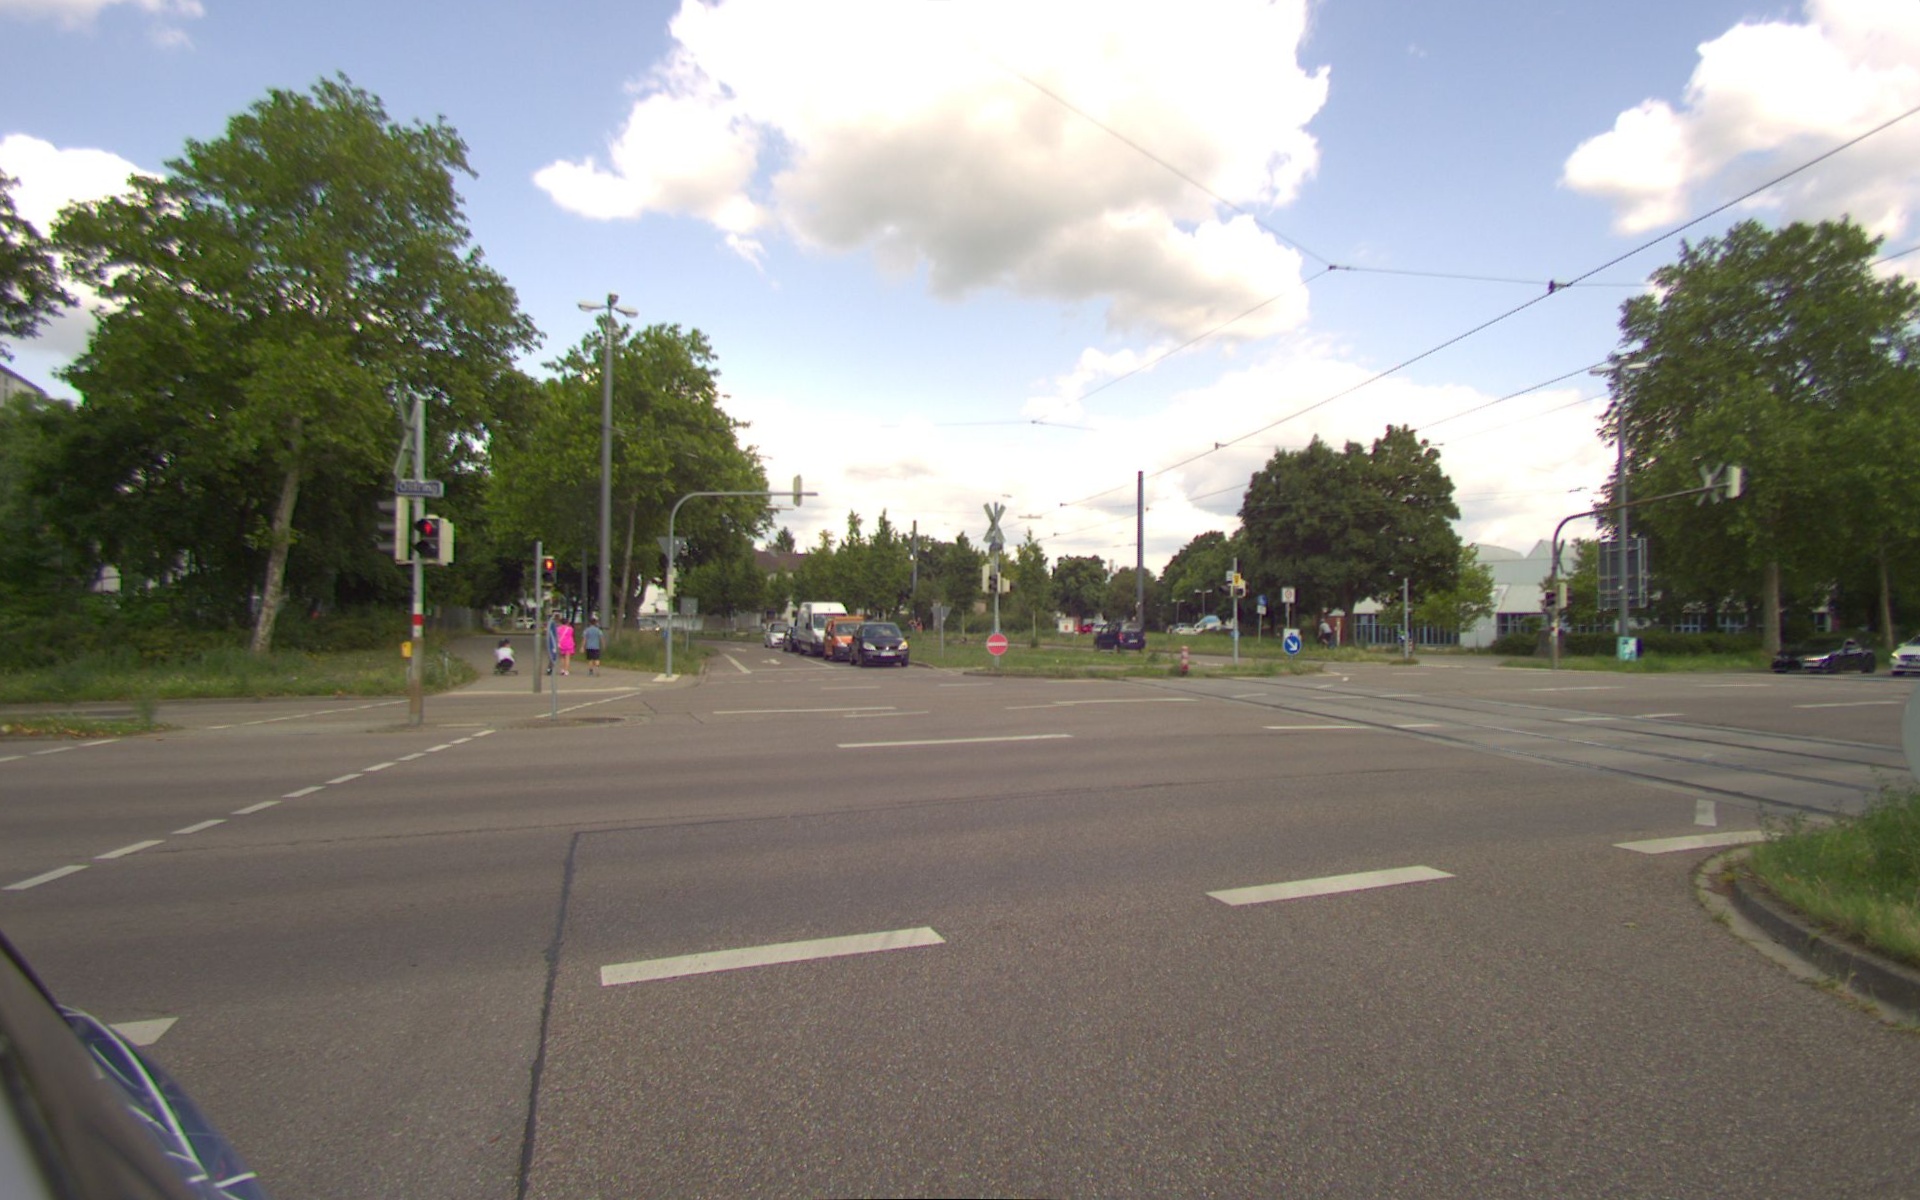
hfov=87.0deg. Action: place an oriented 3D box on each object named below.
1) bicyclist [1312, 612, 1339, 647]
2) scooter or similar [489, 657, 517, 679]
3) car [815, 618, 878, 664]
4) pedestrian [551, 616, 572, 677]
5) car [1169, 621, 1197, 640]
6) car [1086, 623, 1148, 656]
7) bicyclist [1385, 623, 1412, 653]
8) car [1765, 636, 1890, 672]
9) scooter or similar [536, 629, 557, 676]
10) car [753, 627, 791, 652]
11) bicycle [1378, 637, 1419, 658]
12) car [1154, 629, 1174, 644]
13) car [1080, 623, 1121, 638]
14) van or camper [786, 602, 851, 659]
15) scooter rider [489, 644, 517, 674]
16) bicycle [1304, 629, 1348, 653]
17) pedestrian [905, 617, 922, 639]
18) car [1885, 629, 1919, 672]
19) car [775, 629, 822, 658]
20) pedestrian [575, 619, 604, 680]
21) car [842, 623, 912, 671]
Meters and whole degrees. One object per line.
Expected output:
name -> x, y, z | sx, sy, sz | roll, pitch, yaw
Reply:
bicyclist -> 18.276, 1.457, 50.664 | 0.946, 1.735, 0.839 | 1, -2, -21
scooter or similar -> -11.894, 1.758, 26.368 | 0.601, 0.515, 0.860 | -2, -1, -21
car -> -4.824, 1.686, 42.429 | 1.852, 1.813, 4.383 | 1, -2, -17
pedestrian -> -10.848, 1.259, 27.528 | 0.415, 1.631, 0.597 | 0, -1, -10
car -> 19.643, 2.652, 89.207 | 1.976, 1.652, 4.381 | 0, -2, 7
car -> 8.152, 2.037, 52.907 | 1.698, 1.629, 4.011 | 0, -1, -15
bicyclist -> 22.517, 1.950, 51.979 | 0.947, 1.500, 0.838 | 0, -2, -13
car -> 30.450, 1.877, 35.542 | 3.645, 1.201, 1.645 | 1, -2, -17
scooter or similar -> -11.290, 1.434, 27.643 | 0.317, 1.241, 0.777 | -2, -1, -8
car -> -11.717, 2.423, 62.743 | 1.780, 1.442, 4.396 | 1, -2, -17
bicycle -> 22.506, 2.431, 52.027 | 0.936, 1.048, 1.989 | 0, -2, -13
car -> 24.309, 4.339, 120.513 | 1.976, 1.652, 4.381 | 0, -2, 7
car -> 14.032, 3.055, 101.338 | 3.953, 1.542, 1.995 | 0, -2, 8
van or camper -> -6.909, 1.495, 48.945 | 1.948, 2.544, 6.055 | 1, -2, -19
scooter rider -> -11.907, 1.520, 26.369 | 0.601, 0.734, 0.862 | -2, -1, -21
bicycle -> 18.292, 2.045, 50.624 | 0.935, 1.163, 1.990 | 1, -2, -21
pedestrian -> -4.341, 2.570, 94.441 | 1.087, 2.029, 1.180 | 1, -2, -29
car -> 32.321, 1.629, 32.970 | 4.066, 1.375, 1.837 | 1, -2, -26
car -> -8.799, 2.311, 54.869 | 1.780, 1.442, 4.483 | 1, -1, -19
pedestrian -> -10.067, 1.323, 27.507 | 0.622, 1.631, 0.612 | 0, -1, -10
car -> -3.046, 1.644, 36.360 | 1.706, 1.643, 4.064 | 1, -2, -17
